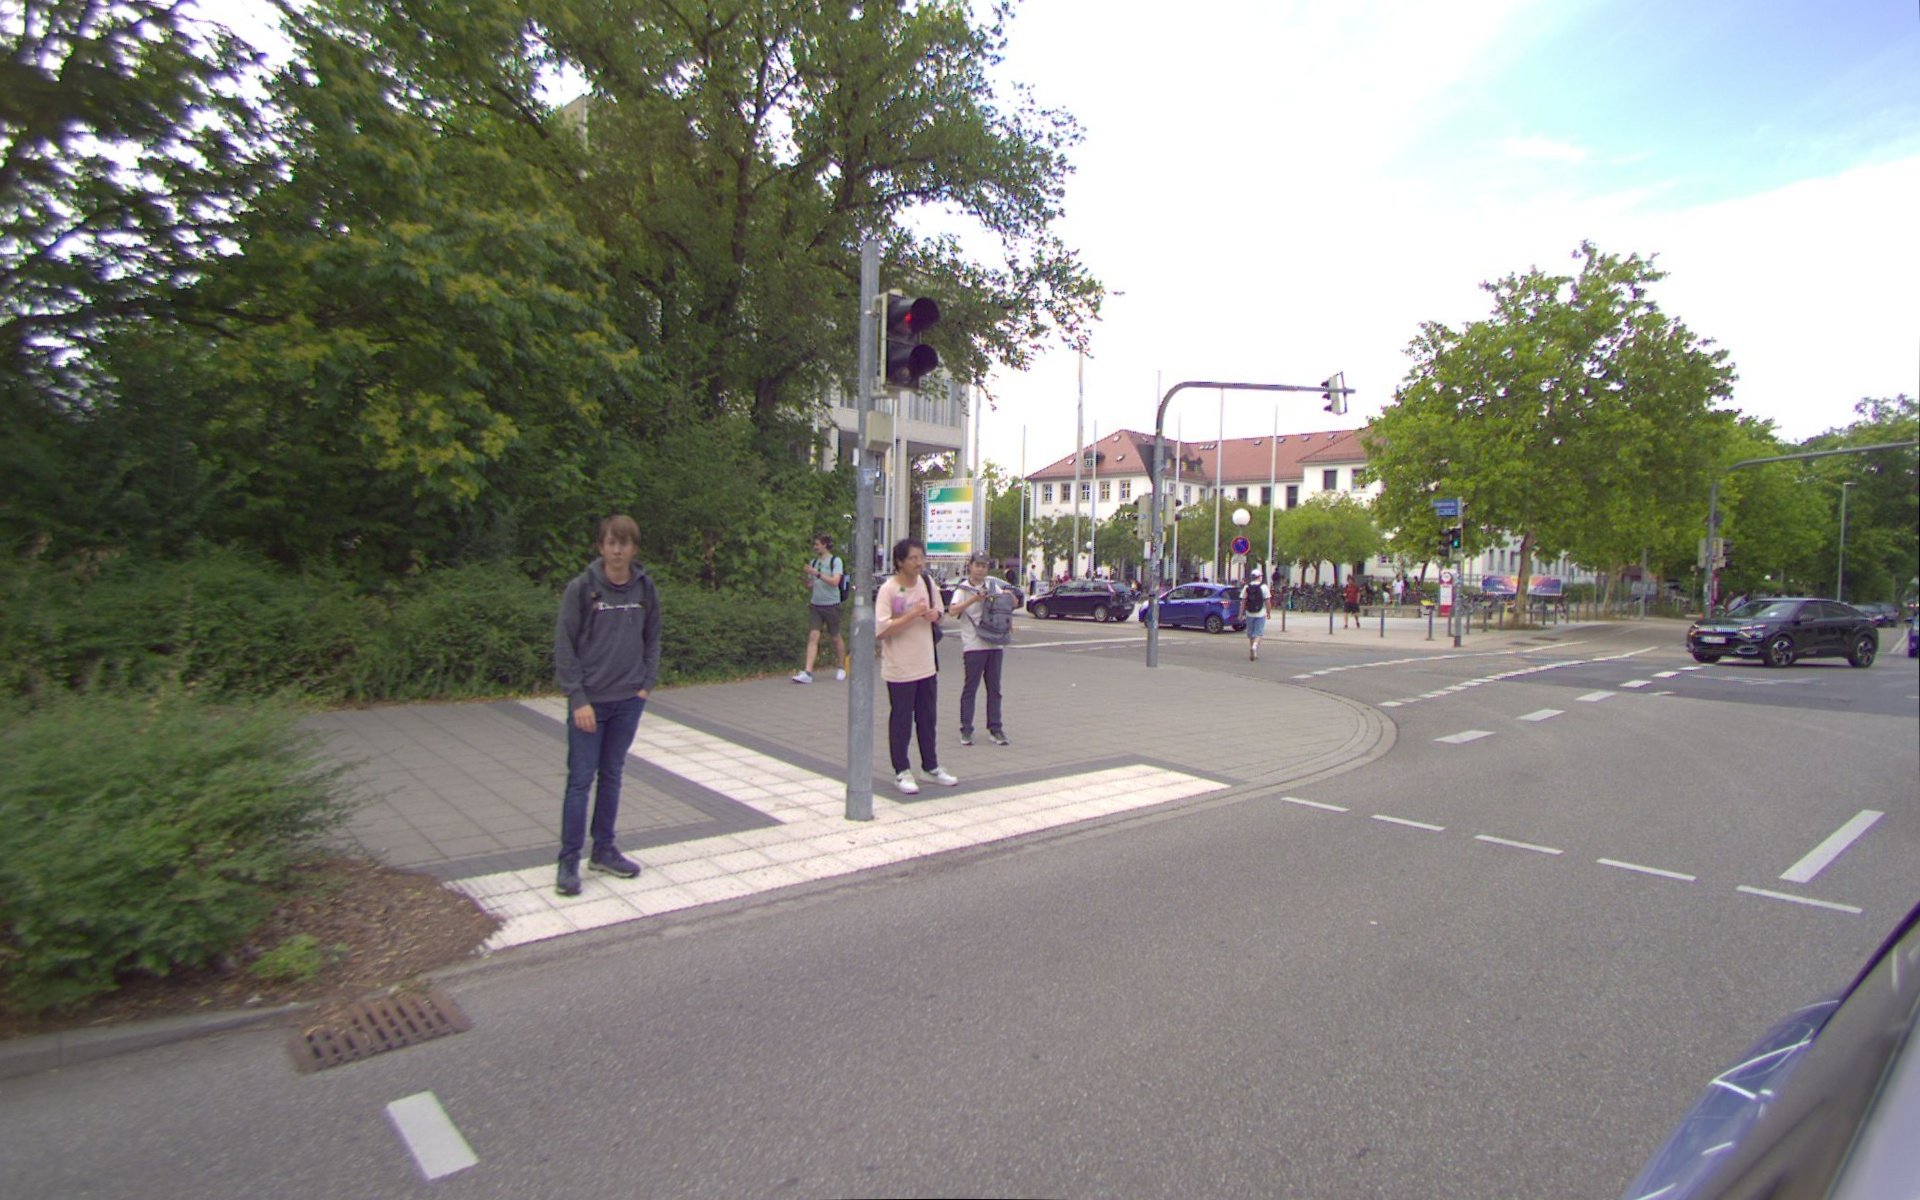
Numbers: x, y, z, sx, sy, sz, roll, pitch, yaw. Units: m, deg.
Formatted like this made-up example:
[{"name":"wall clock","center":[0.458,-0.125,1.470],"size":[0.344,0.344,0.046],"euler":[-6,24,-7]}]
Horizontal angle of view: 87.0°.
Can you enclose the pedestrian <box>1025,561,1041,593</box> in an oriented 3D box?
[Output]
[{"name":"pedestrian","center":[4.298,-1.333,59.697],"size":[0.722,1.867,0.596],"euler":[0,0,31]}]

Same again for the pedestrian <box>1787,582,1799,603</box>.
[{"name":"pedestrian","center":[63.260,-0.585,76.844],"size":[0.644,1.584,0.792],"euler":[2,1,43]}]

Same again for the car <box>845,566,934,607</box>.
[{"name":"car","center":[-3.022,-0.609,42.658],"size":[3.822,1.586,1.648],"euler":[3,3,45]}]

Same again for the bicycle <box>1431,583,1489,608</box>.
[{"name":"bicycle","center":[24.563,-0.234,49.736],"size":[0.706,1.156,2.468],"euler":[0,2,-43]}]

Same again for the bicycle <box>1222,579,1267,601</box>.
[{"name":"bicycle","center":[16.115,-0.564,57.367],"size":[0.706,1.156,2.468],"euler":[0,2,-43]}]

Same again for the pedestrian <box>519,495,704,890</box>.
[{"name":"pedestrian","center":[-1.702,0.402,4.936],"size":[0.644,1.756,0.602],"euler":[0,2,-44]}]

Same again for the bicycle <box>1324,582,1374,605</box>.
[{"name":"bicycle","center":[21.141,-0.366,55.087],"size":[0.706,1.156,2.468],"euler":[0,2,-43]}]

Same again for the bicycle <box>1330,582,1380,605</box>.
[{"name":"bicycle","center":[21.695,-0.375,55.641],"size":[0.706,1.156,2.468],"euler":[0,2,-43]}]

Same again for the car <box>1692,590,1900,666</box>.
[{"name":"car","center":[18.731,0.566,22.685],"size":[4.088,1.576,1.809],"euler":[0,0,-21]}]

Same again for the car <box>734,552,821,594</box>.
[{"name":"car","center":[-8.700,-1.315,48.078],"size":[4.217,1.586,1.786],"euler":[3,-9,45]}]

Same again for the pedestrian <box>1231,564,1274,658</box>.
[{"name":"pedestrian","center":[5.959,0.207,20.600],"size":[0.642,1.875,0.819],"euler":[0,1,33]}]

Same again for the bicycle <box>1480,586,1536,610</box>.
[{"name":"bicycle","center":[28.414,-0.093,52.485],"size":[0.706,1.156,2.468],"euler":[0,2,-43]}]

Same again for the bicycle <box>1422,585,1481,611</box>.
[{"name":"bicycle","center":[23.744,-0.117,48.965],"size":[0.706,1.156,2.468],"euler":[0,2,-43]}]

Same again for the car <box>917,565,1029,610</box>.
[{"name":"car","center":[0.429,-0.525,38.978],"size":[4.441,1.586,1.648],"euler":[3,3,45]}]

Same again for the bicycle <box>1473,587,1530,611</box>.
[{"name":"bicycle","center":[27.802,-0.085,52.005],"size":[0.706,1.156,2.468],"euler":[0,2,-43]}]

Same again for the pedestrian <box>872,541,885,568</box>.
[{"name":"pedestrian","center":[-5.222,-2.903,64.643],"size":[0.619,1.736,0.673],"euler":[0,0,-28]}]

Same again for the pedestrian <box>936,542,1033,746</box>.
[{"name":"pedestrian","center":[0.213,0.355,8.852],"size":[0.626,1.708,0.546],"euler":[0,2,-45]}]

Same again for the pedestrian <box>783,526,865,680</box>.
[{"name":"pedestrian","center":[-1.668,0.020,12.387],"size":[0.728,1.817,0.645],"euler":[0,2,-44]}]

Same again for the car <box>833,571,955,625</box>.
[{"name":"car","center":[-1.975,-0.114,29.733],"size":[1.656,1.460,3.574],"euler":[-1,3,-44]}]

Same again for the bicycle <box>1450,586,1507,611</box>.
[{"name":"bicycle","center":[26.224,-0.079,51.213],"size":[0.706,1.156,2.468],"euler":[0,2,-43]}]

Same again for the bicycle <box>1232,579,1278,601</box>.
[{"name":"bicycle","center":[16.948,-0.577,58.200],"size":[0.706,1.156,2.468],"euler":[0,2,-43]}]

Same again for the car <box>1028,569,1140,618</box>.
[{"name":"car","center":[4.337,-0.284,35.667],"size":[3.685,1.586,1.648],"euler":[2,3,45]}]

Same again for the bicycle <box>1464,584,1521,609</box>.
[{"name":"bicycle","center":[27.053,-0.185,51.454],"size":[0.706,1.156,2.468],"euler":[0,2,-43]}]

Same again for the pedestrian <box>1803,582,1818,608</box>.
[{"name":"pedestrian","center":[64.150,-0.374,76.308],"size":[0.796,1.957,0.748],"euler":[2,1,44]}]

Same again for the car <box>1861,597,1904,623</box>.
[{"name":"car","center":[52.659,0.534,57.750],"size":[1.699,1.386,3.771],"euler":[3,2,44]}]

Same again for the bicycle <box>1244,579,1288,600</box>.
[{"name":"bicycle","center":[17.861,-0.632,59.128],"size":[0.706,1.156,2.468],"euler":[0,2,-43]}]

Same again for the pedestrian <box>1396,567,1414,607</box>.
[{"name":"pedestrian","center":[22.374,-0.635,50.889],"size":[0.674,1.988,0.601],"euler":[0,0,6]}]

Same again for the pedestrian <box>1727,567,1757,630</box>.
[{"name":"pedestrian","center":[23.236,-0.057,30.074],"size":[0.670,1.839,0.574],"euler":[0,1,-42]}]

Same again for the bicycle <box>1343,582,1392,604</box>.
[{"name":"bicycle","center":[22.839,-0.390,56.771],"size":[0.706,1.156,2.468],"euler":[0,2,-43]}]

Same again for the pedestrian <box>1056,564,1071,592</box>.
[{"name":"pedestrian","center":[6.015,-1.291,58.844],"size":[0.722,1.617,0.595],"euler":[0,0,33]}]

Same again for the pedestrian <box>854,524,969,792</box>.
[{"name":"pedestrian","center":[-0.333,0.373,7.013],"size":[0.626,1.756,0.454],"euler":[0,2,-45]}]

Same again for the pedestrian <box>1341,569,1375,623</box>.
[{"name":"pedestrian","center":[13.649,-0.155,34.712],"size":[0.876,1.827,0.768],"euler":[0,0,-40]}]

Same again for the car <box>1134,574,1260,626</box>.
[{"name":"car","center":[7.498,-0.056,32.196],"size":[3.573,1.510,1.648],"euler":[2,3,45]}]

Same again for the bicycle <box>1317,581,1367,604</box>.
[{"name":"bicycle","center":[20.558,-0.394,54.511],"size":[0.706,1.156,2.468],"euler":[0,2,-43]}]
